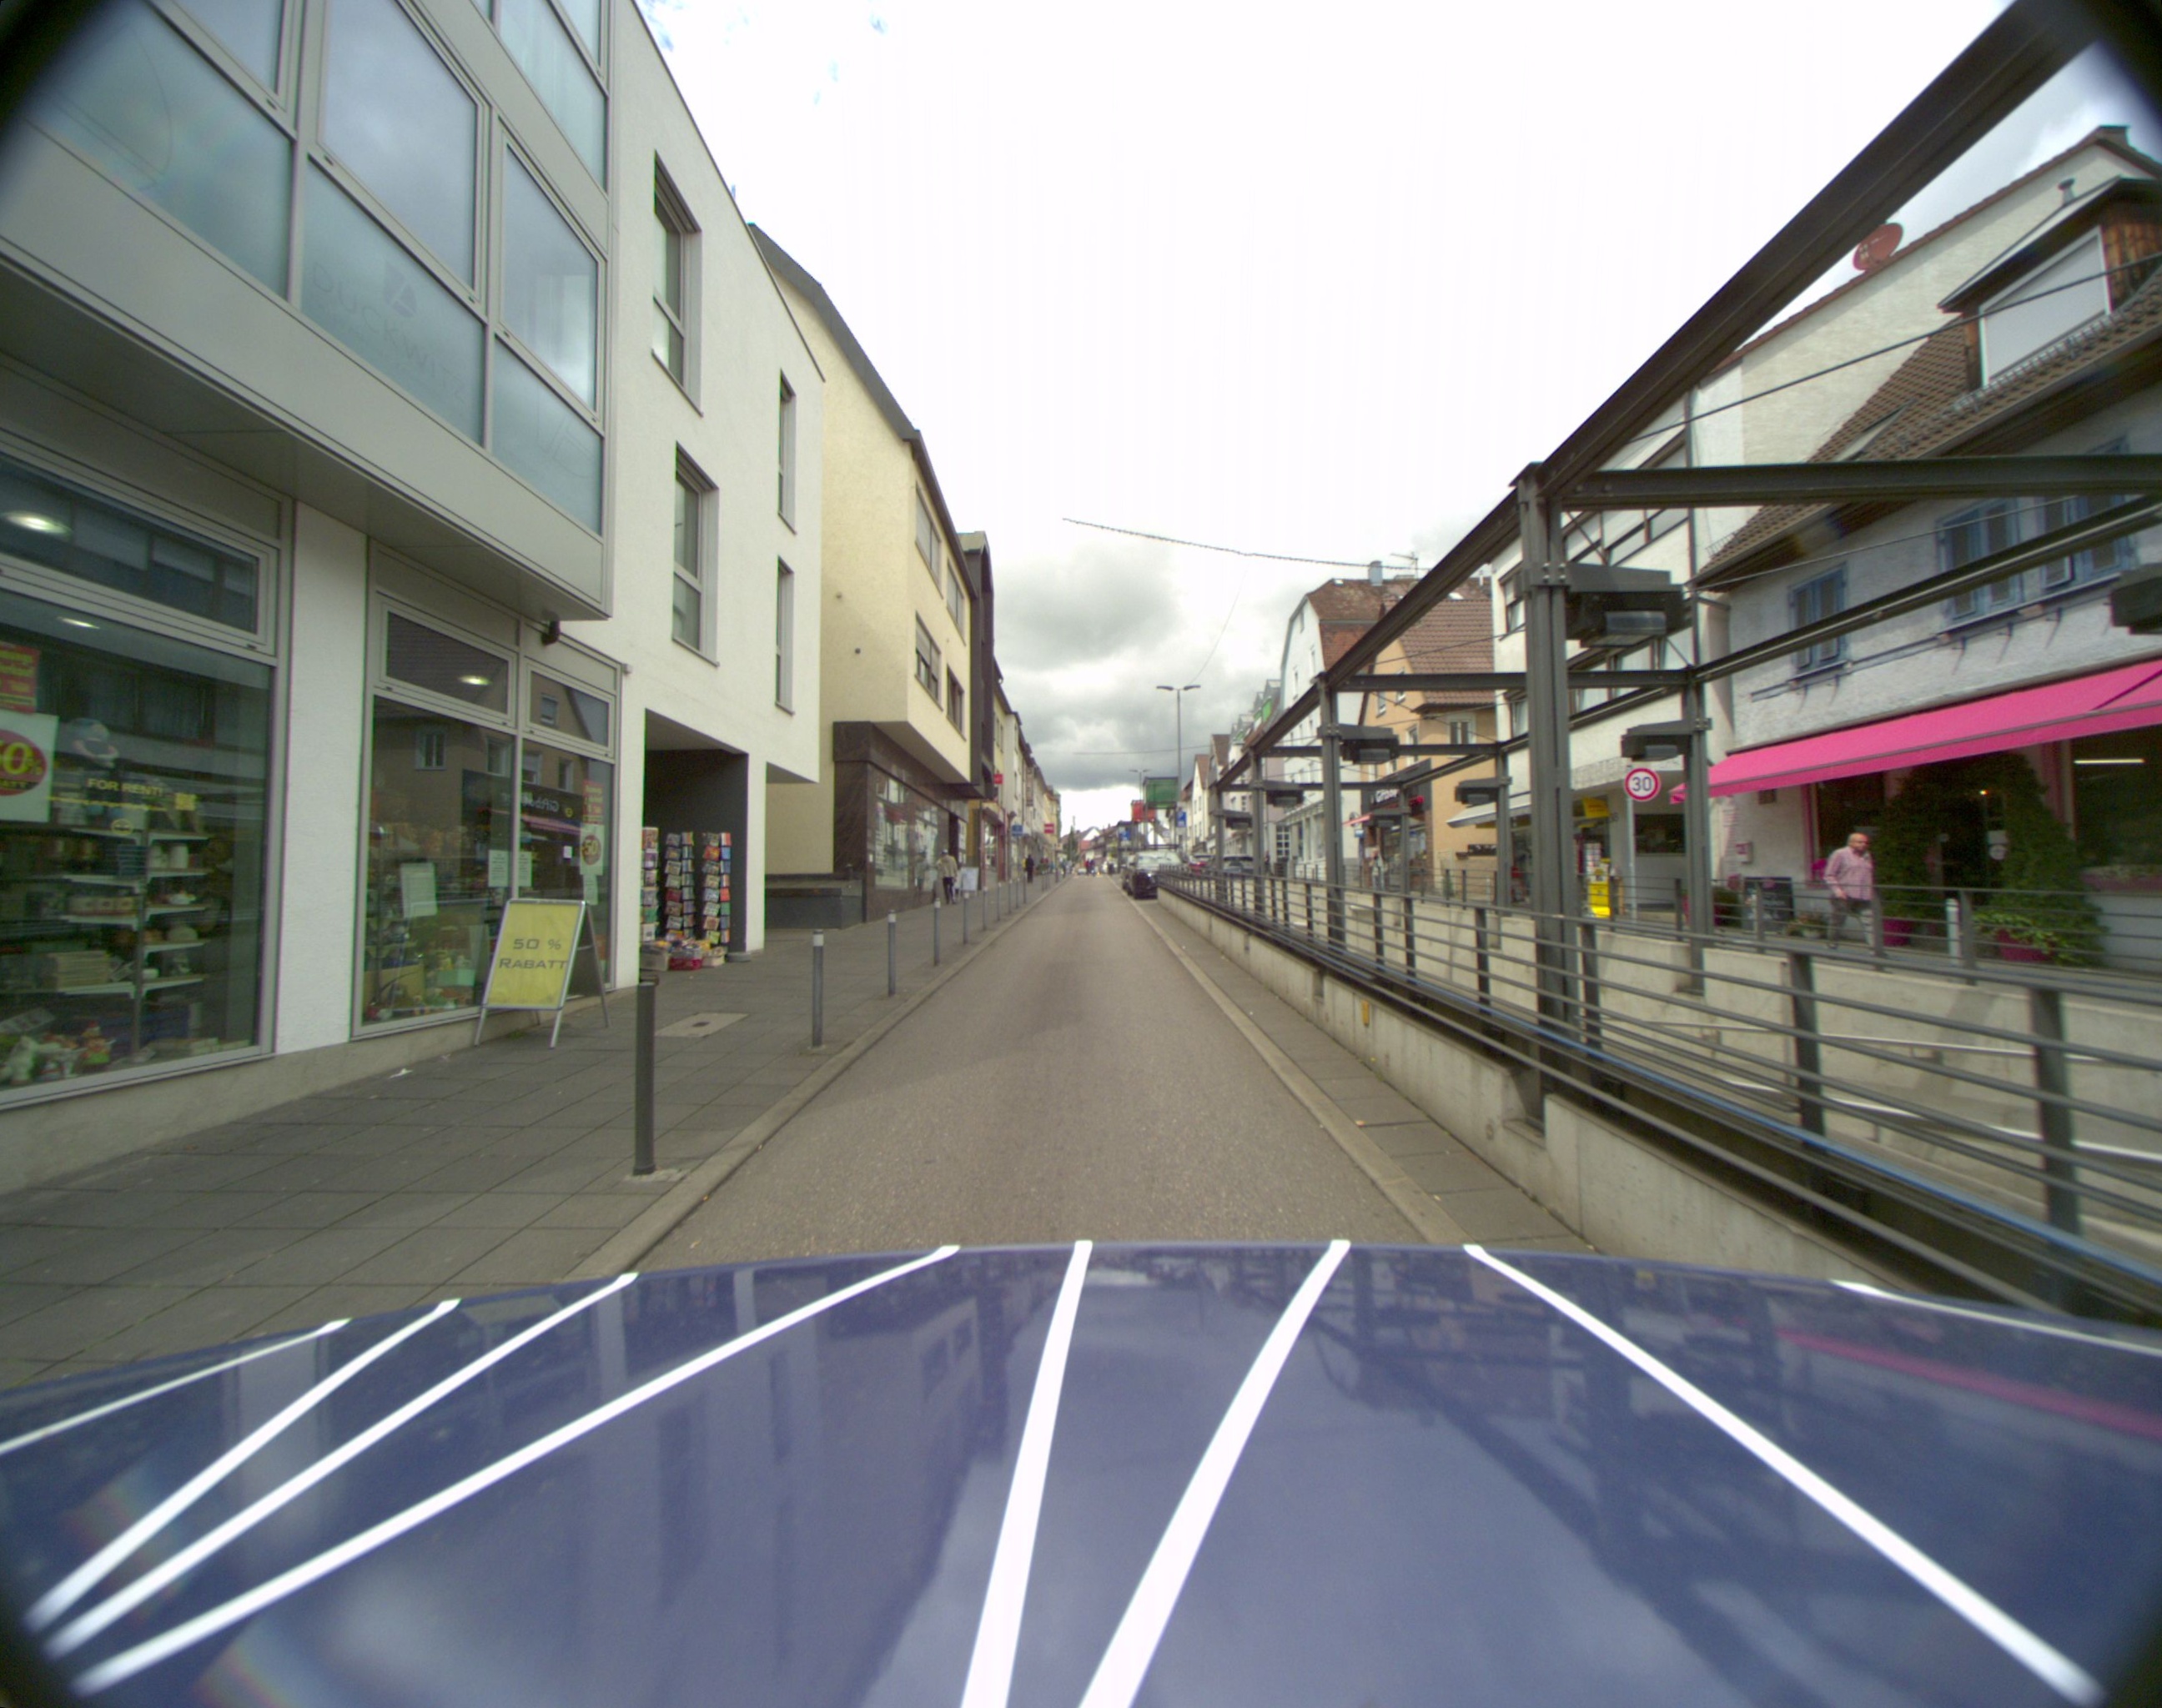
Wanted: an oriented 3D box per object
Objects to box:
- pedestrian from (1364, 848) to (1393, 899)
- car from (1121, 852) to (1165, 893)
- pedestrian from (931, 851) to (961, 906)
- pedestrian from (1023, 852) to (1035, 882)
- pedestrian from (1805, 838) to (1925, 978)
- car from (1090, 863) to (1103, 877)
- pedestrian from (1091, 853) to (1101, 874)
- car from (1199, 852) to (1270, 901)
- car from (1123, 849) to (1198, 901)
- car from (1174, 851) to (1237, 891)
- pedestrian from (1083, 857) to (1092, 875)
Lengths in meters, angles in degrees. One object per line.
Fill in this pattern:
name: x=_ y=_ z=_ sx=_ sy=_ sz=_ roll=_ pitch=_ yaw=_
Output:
pedestrian: x=10.146 y=0.648 z=25.925 sx=0.748 sy=1.704 sz=0.664 roll=-1 pitch=1 yaw=1
car: x=2.625 y=0.737 z=32.697 sx=1.577 sy=1.600 sz=3.533 roll=-2 pitch=0 yaw=0
pedestrian: x=-4.169 y=0.744 z=23.507 sx=0.760 sy=1.663 sz=0.780 roll=2 pitch=0 yaw=-2
pedestrian: x=-2.980 y=0.753 z=43.804 sx=0.639 sy=1.689 sz=0.708 roll=-1 pitch=1 yaw=-6
pedestrian: x=10.077 y=0.668 z=9.800 sx=0.696 sy=1.730 sz=0.825 roll=0 pitch=1 yaw=2
car: x=2.412 y=2.521 z=118.830 sx=1.998 sy=2.002 sz=4.000 roll=-1 pitch=0 yaw=0
pedestrian: x=1.332 y=0.823 z=65.973 sx=0.761 sy=1.764 sz=0.850 roll=-1 pitch=1 yaw=-6
car: x=5.343 y=0.723 z=26.872 sx=1.703 sy=1.538 sz=3.898 roll=-2 pitch=0 yaw=0
car: x=2.654 y=0.664 z=26.403 sx=1.999 sy=1.557 sz=4.430 roll=-2 pitch=0 yaw=-1
car: x=5.445 y=0.685 z=33.789 sx=1.998 sy=1.580 sz=4.494 roll=-2 pitch=0 yaw=0
pedestrian: x=0.533 y=0.987 z=64.886 sx=0.663 sy=1.519 sz=0.705 roll=-1 pitch=1 yaw=-6
